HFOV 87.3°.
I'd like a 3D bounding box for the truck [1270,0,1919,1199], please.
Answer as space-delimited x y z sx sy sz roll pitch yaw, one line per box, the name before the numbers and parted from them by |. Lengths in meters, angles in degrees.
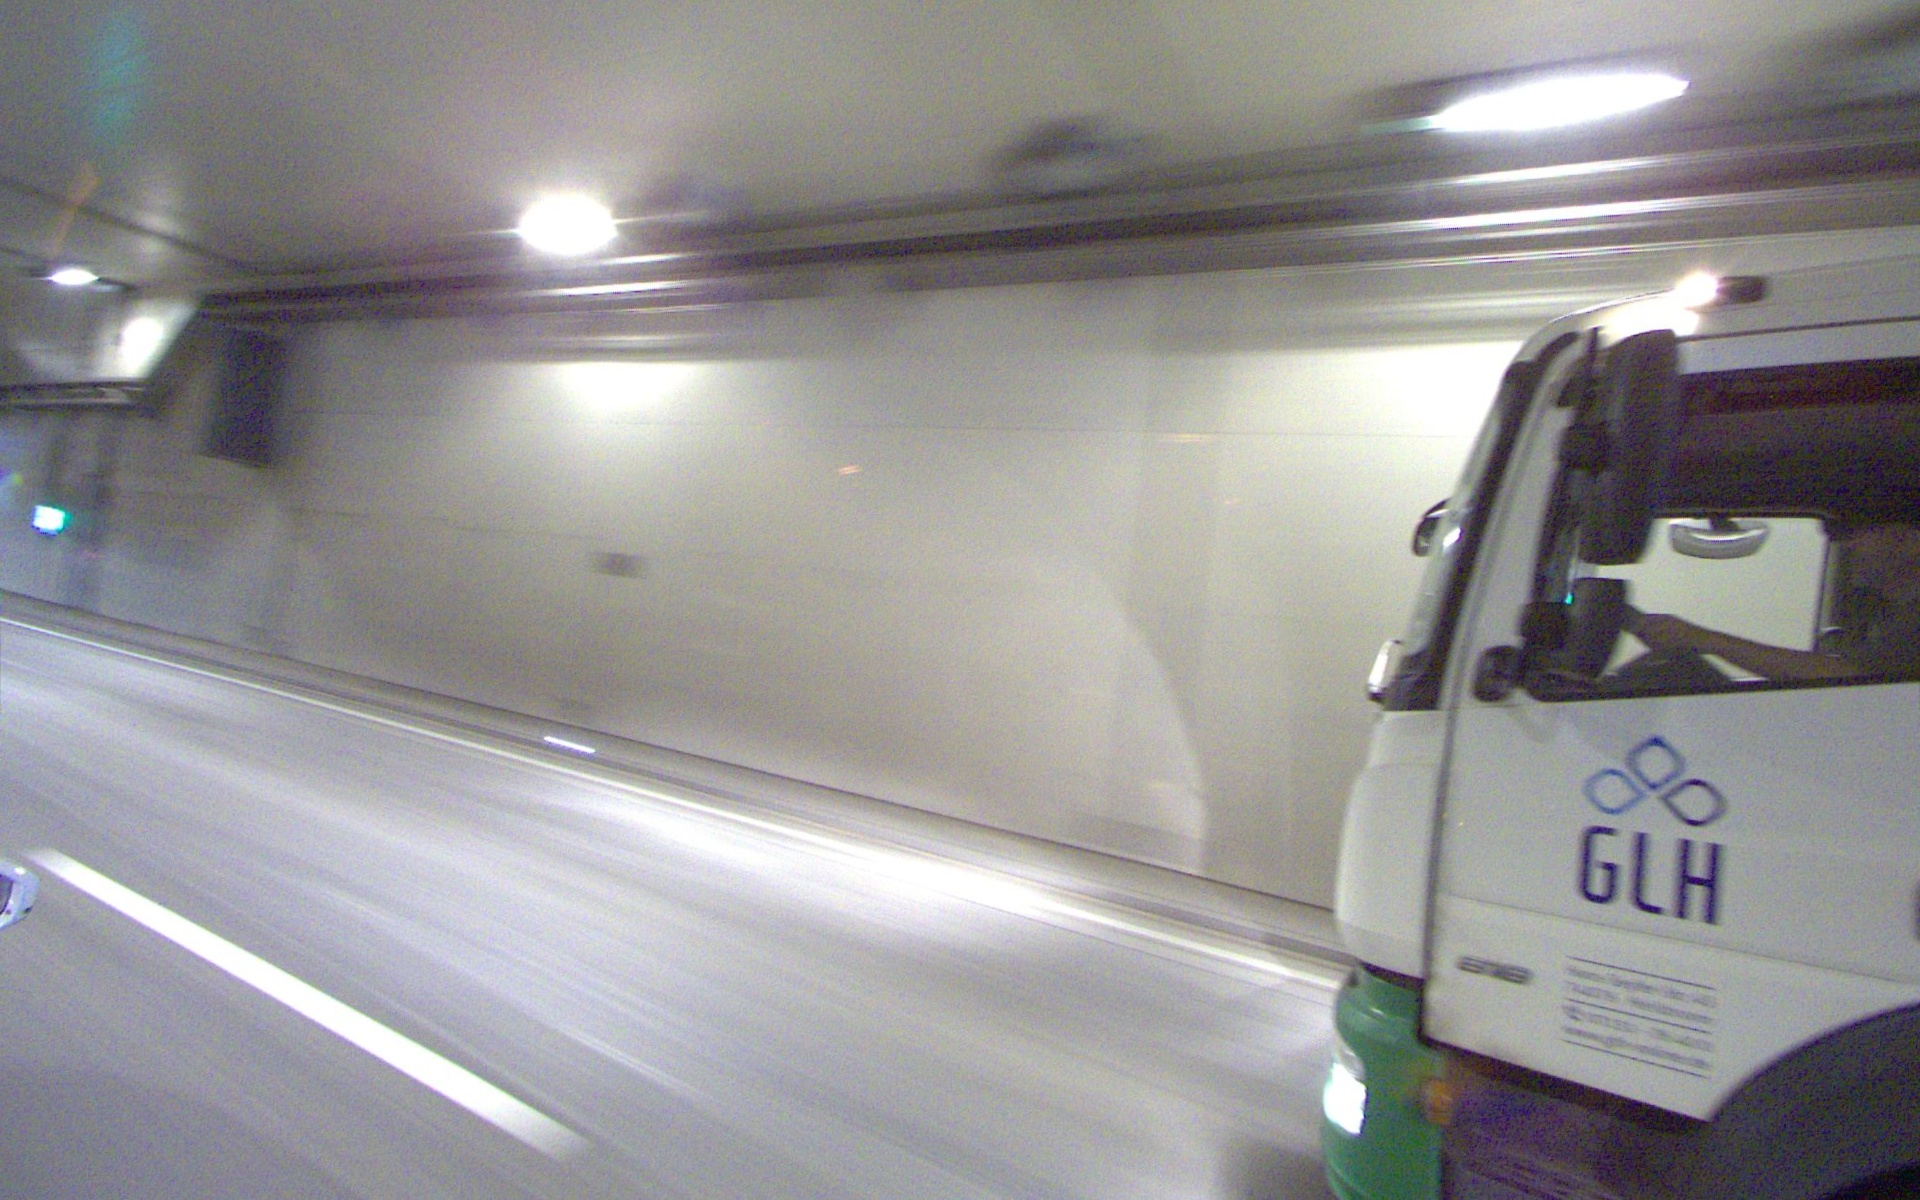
truck | 4.503 0.519 1.451 7.124 3.218 2.559 7 -1 31
